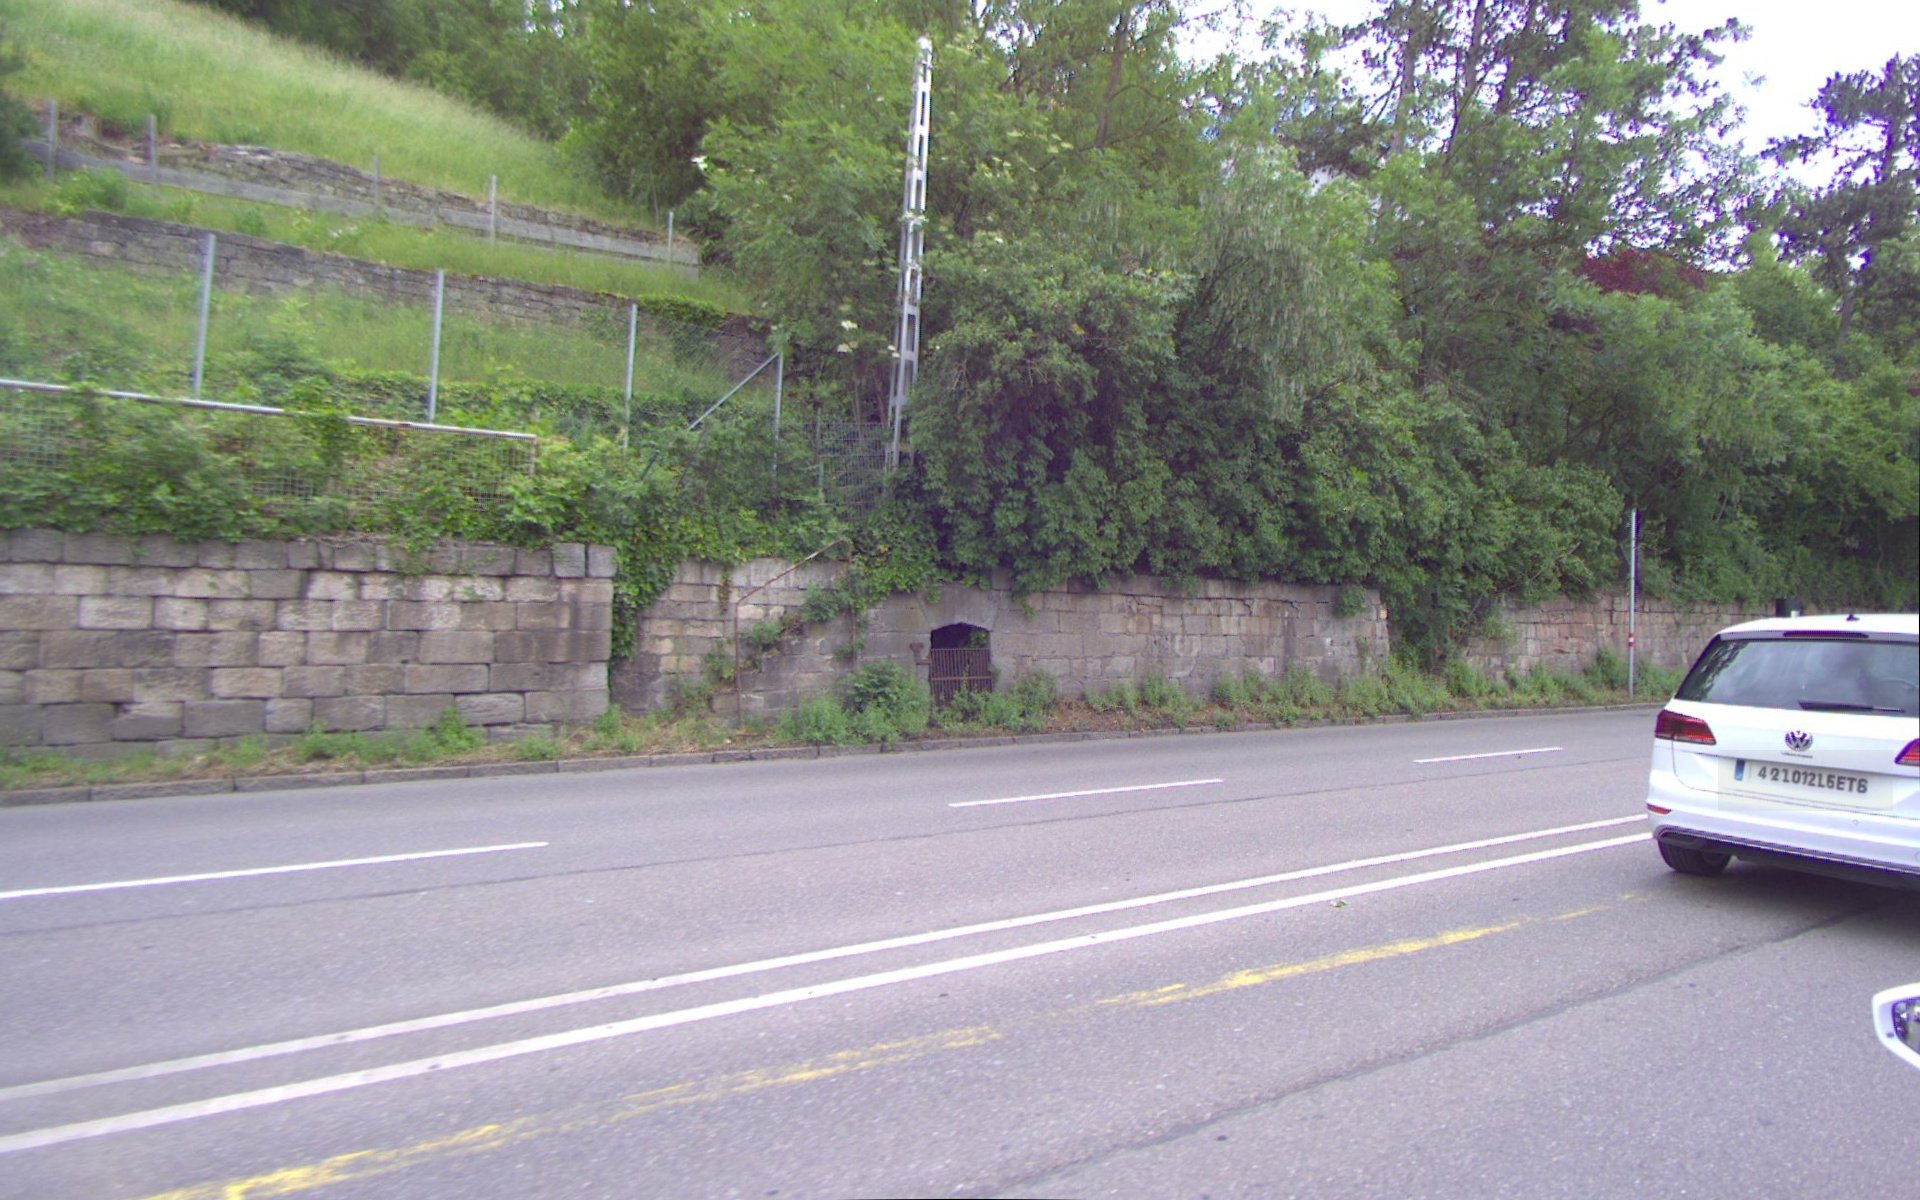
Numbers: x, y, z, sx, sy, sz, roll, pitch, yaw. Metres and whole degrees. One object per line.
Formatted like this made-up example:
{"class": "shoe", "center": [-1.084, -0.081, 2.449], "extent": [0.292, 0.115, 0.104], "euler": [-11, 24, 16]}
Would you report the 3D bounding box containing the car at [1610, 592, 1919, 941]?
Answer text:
{"class": "car", "center": [5.932, 0.800, 6.019], "extent": [4.225, 1.575, 1.712], "euler": [1, -1, -30]}
